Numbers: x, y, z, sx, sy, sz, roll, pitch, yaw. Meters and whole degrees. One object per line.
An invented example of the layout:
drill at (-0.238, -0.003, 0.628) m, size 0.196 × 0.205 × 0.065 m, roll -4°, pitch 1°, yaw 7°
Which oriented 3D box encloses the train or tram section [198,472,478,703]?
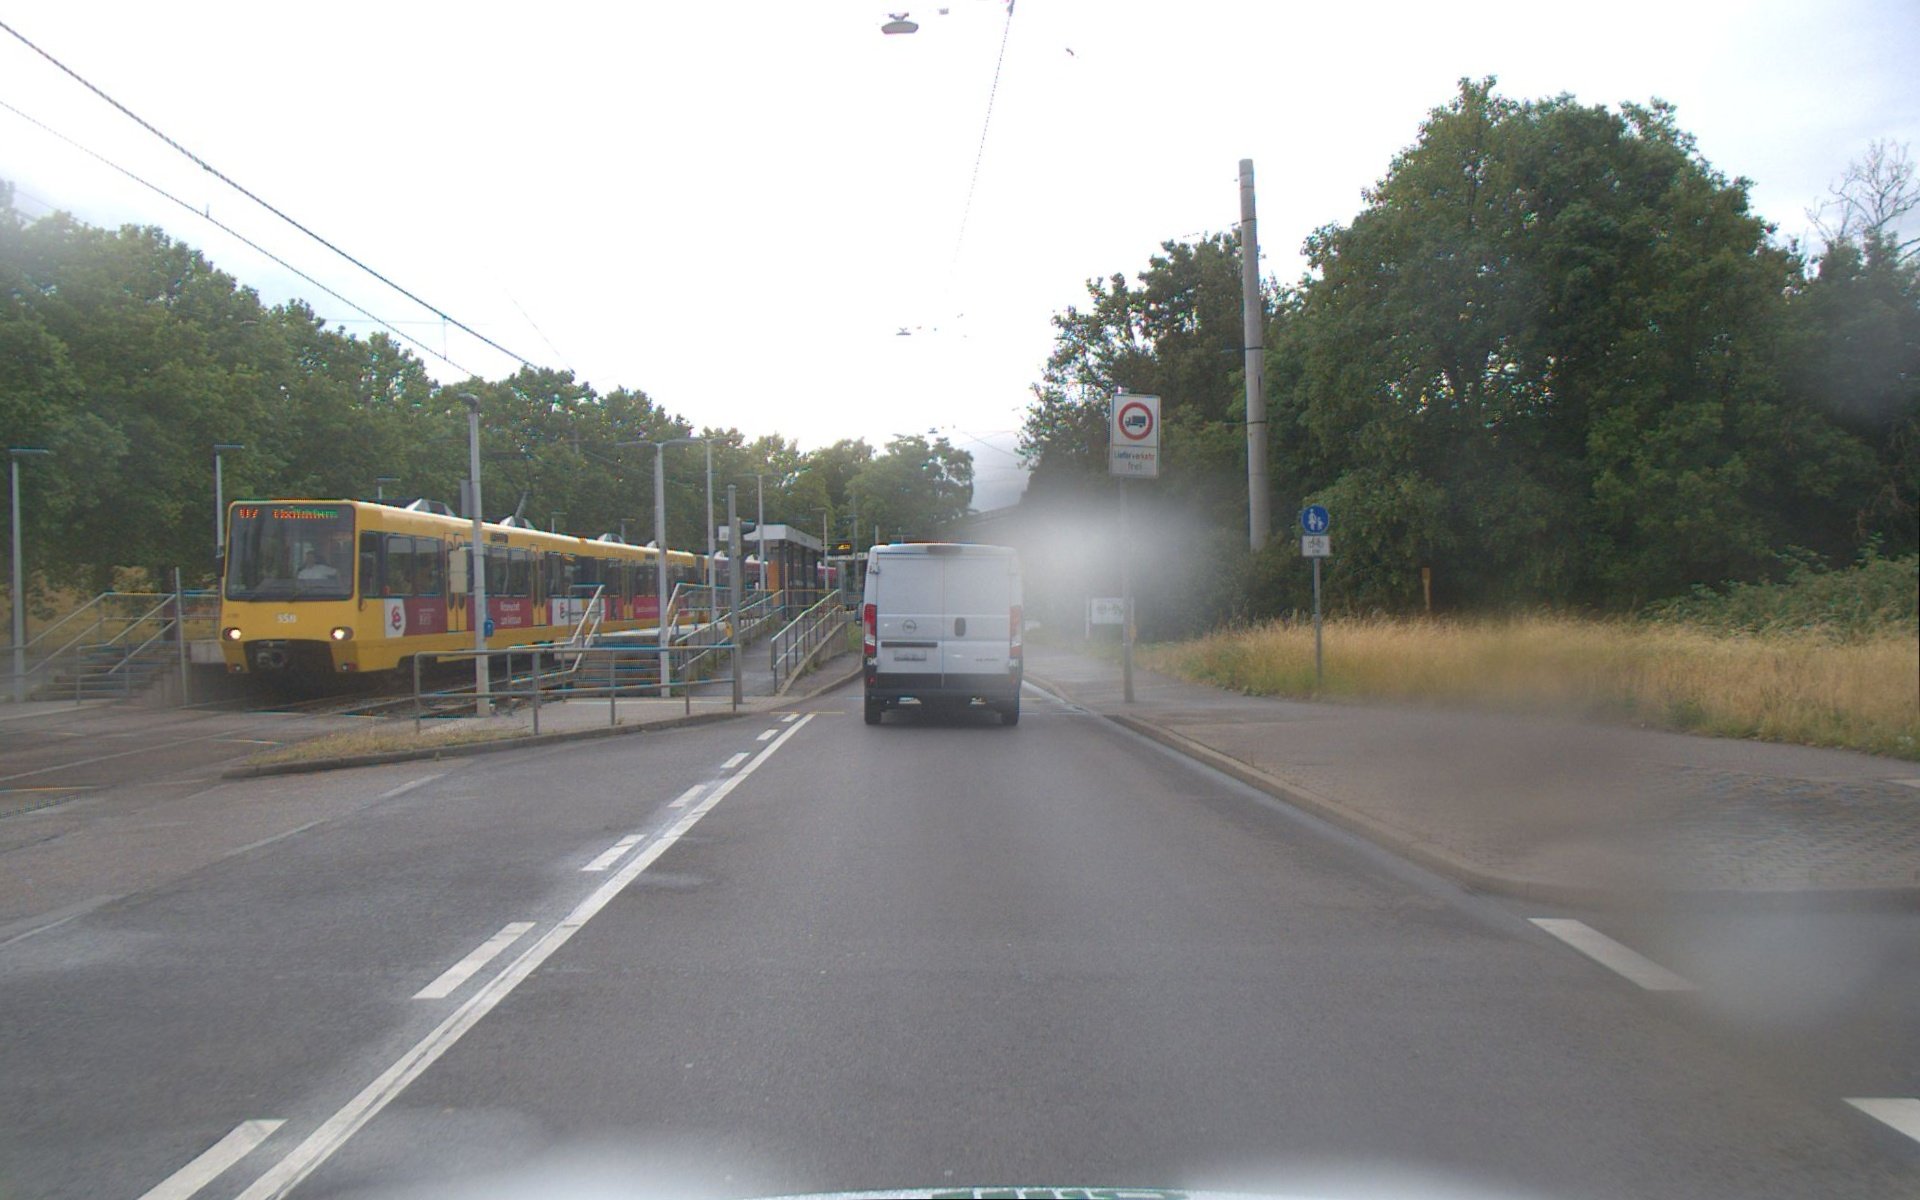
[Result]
train or tram section at (-11.894, -0.203, 32.440) m, size 2.869 × 4.002 × 7.003 m, roll 1°, pitch 0°, yaw -1°

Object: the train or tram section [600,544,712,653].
train or tram section at (-11.779, -0.034, 64.732) m, size 2.868 × 4.002 × 7.006 m, roll 1°, pitch 0°, yaw 1°

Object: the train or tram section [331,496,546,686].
train or tram section at (-12.013, -0.172, 38.830) m, size 2.869 × 4.002 × 7.003 m, roll 1°, pitch 0°, yaw -1°

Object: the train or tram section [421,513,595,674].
train or tram section at (-12.123, -0.142, 45.073) m, size 2.869 × 4.002 × 7.003 m, roll 1°, pitch 0°, yaw -1°

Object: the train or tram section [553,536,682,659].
train or tram section at (-11.916, -0.070, 58.182) m, size 2.868 × 4.002 × 7.006 m, roll 1°, pitch 0°, yaw 1°

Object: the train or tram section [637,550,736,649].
train or tram section at (-11.650, 0.000, 71.002) m, size 2.868 × 4.002 × 7.006 m, roll 1°, pitch 0°, yaw 1°

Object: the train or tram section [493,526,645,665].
train or tram section at (-12.048, -0.106, 51.688) m, size 2.868 × 4.002 × 7.006 m, roll 1°, pitch 0°, yaw 1°

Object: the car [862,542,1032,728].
car at (-0.274, 0.417, 22.613) m, size 2.049 × 2.235 × 5.058 m, roll 0°, pitch 0°, yaw -3°
